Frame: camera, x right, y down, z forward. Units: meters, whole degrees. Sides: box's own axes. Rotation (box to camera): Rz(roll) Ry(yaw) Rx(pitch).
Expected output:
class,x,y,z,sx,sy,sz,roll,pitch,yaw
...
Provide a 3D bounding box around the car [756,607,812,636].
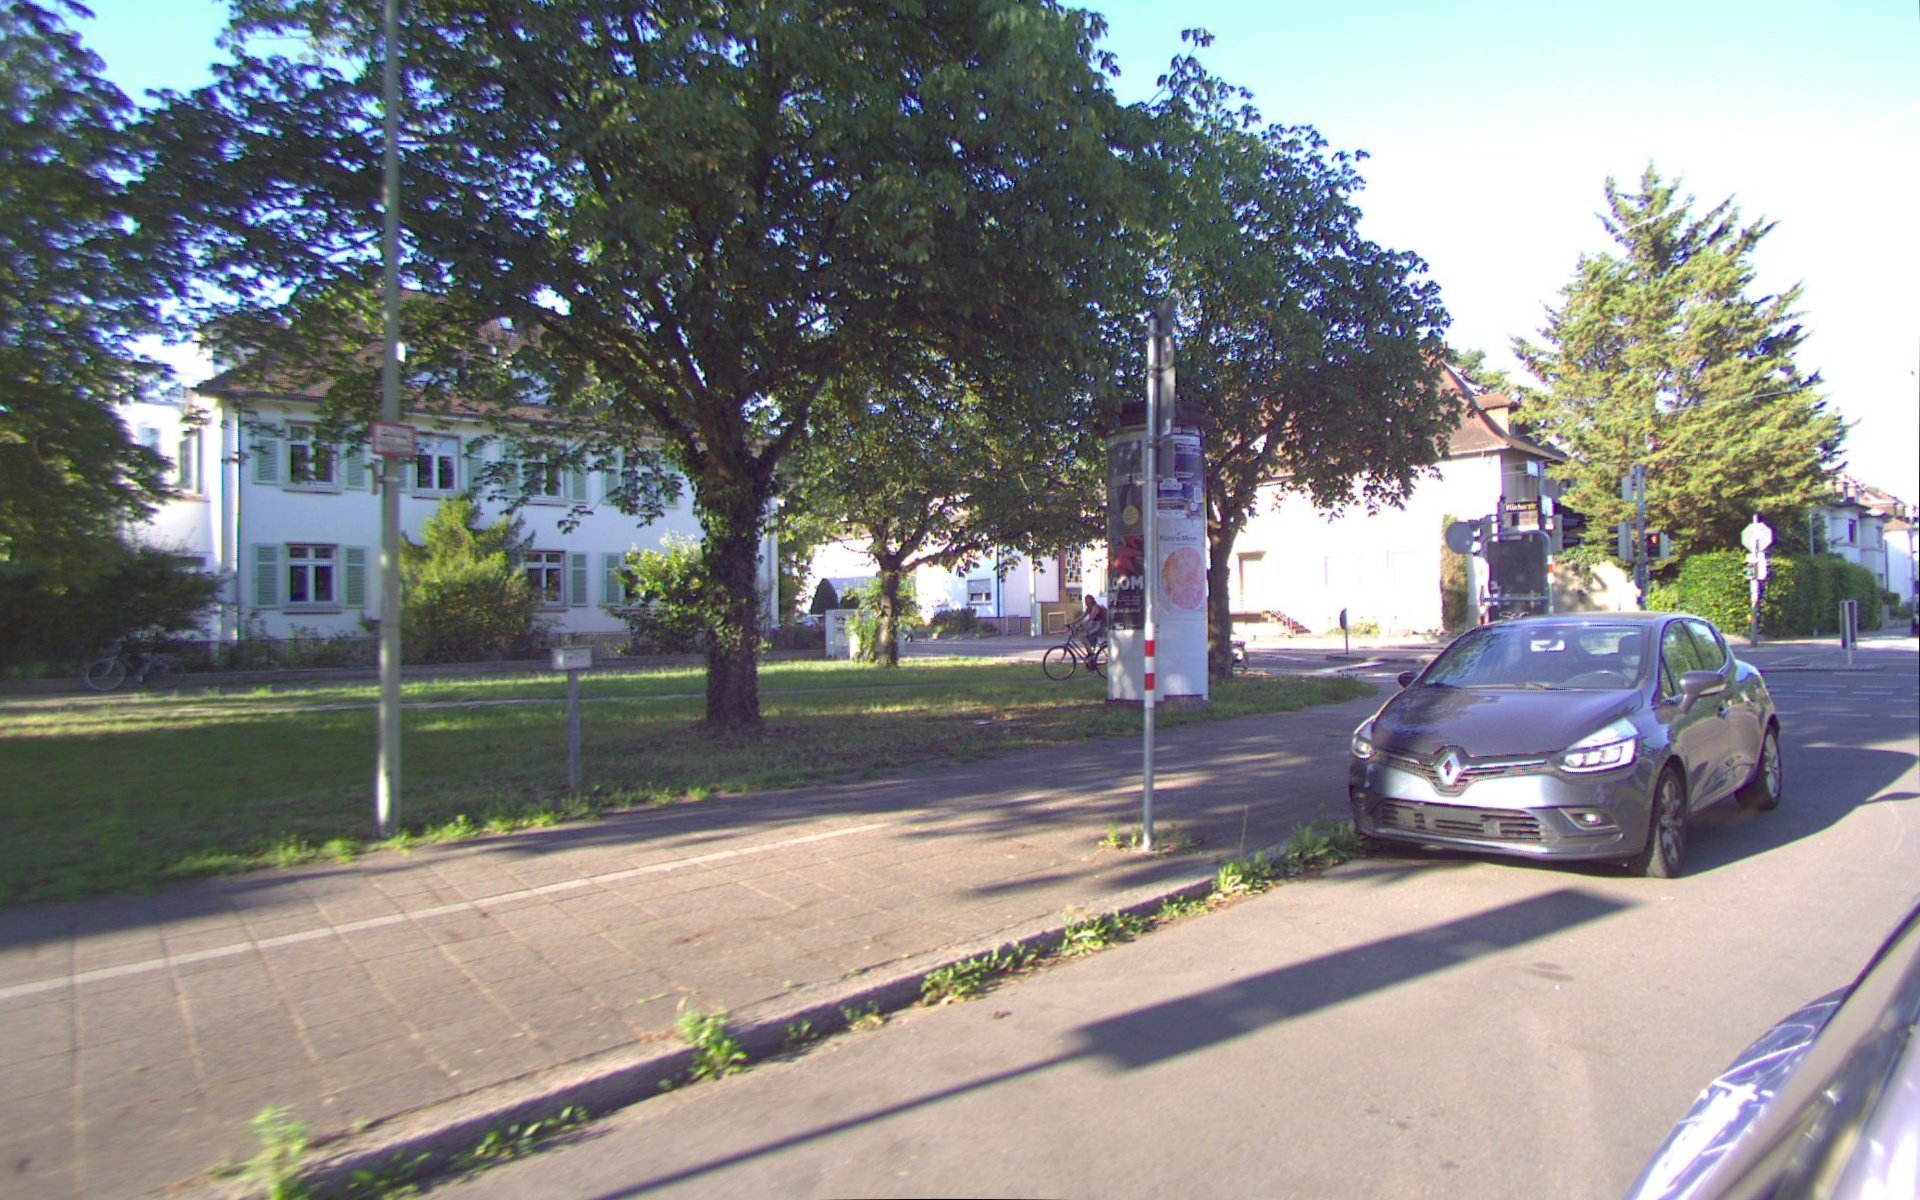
class,x,y,z,sx,sy,sz,roll,pitch,yaw
car,-12.001,1.418,68.882,1.965,1.906,3.993,1,-1,-41

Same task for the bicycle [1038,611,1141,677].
class,x,y,z,sx,sy,sz,roll,pitch,yaw
bicycle,2.598,0.875,20.338,1.925,1.199,0.493,-3,-2,-3

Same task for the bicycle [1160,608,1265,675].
class,x,y,z,sx,sy,sz,roll,pitch,yaw
bicycle,4.926,0.804,19.788,1.866,1.199,0.575,-2,-3,-11

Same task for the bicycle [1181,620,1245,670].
class,x,y,z,sx,sy,sz,roll,pitch,yaw
bicycle,5.845,1.018,23.438,0.458,1.103,1.528,0,-1,-31

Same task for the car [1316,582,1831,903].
class,x,y,z,sx,sy,sz,roll,pitch,yaw
car,4.461,0.695,7.032,4.462,1.530,1.728,-1,-2,-41

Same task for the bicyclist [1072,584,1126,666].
class,x,y,z,sx,sy,sz,roll,pitch,yaw
bicyclist,2.783,0.500,20.354,0.876,1.582,0.715,-3,-2,-4

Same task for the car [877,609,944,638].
class,x,y,z,sx,sy,sz,roll,pitch,yaw
car,-3.004,1.418,60.463,1.965,1.616,3.993,-1,-1,-41

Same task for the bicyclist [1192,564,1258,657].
class,x,y,z,sx,sy,sz,roll,pitch,yaw
bicyclist,5.169,0.212,19.761,0.875,1.754,0.818,-2,-2,-12

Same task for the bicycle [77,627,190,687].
class,x,y,z,sx,sy,sz,roll,pitch,yaw
bicycle,-18.298,1.246,22.440,1.920,1.254,0.450,0,-2,-41
